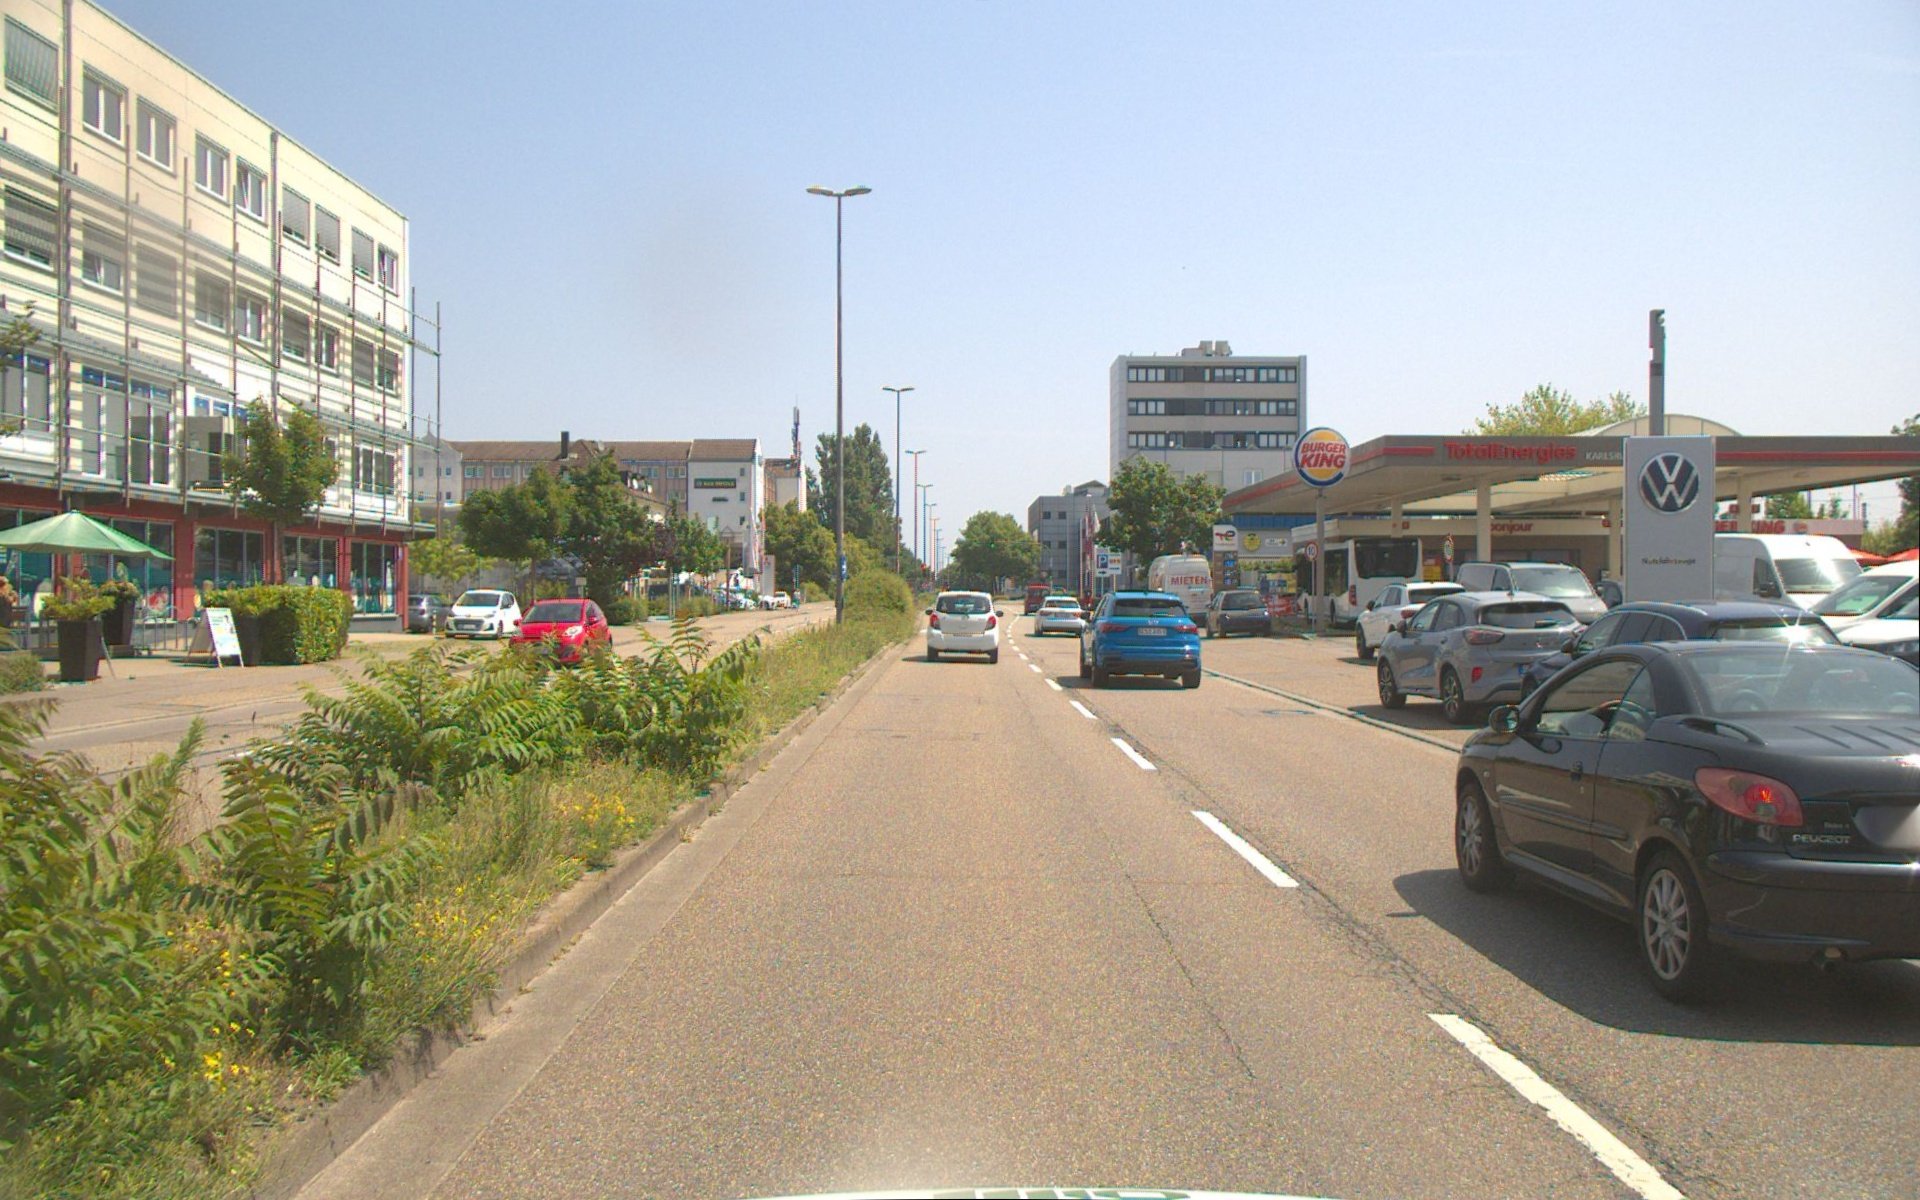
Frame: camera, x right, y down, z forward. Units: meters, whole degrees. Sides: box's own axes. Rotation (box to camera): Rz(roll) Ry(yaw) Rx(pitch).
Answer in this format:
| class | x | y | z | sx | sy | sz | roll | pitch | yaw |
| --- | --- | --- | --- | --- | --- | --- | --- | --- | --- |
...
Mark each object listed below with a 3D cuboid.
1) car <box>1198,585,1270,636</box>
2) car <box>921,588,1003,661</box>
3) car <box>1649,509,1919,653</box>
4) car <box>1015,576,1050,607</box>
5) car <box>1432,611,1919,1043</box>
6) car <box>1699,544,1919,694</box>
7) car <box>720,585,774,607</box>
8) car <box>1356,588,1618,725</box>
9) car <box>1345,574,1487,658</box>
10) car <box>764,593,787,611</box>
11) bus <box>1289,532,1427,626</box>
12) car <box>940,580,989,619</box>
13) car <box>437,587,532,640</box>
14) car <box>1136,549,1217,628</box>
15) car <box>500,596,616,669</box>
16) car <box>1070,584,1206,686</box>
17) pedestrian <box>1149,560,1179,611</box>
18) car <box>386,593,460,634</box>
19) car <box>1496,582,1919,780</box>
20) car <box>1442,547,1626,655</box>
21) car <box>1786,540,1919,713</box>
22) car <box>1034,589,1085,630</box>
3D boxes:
| class | x | y | z | sx | sy | sz | roll | pitch | yaw |
| --- | --- | --- | --- | --- | --- | --- | --- | --- | --- |
| car | 8.730 | 0.322 | 53.002 | 1.623 | 1.546 | 3.819 | -1 | 0 | -1 |
| car | -0.001 | 0.530 | 37.218 | 1.678 | 1.537 | 3.245 | 1 | 0 | -3 |
| car | 17.214 | -0.382 | 35.100 | 2.210 | 2.722 | 7.017 | -1 | 0 | 0 |
| car | 4.457 | -0.511 | 102.072 | 1.759 | 1.759 | 3.970 | 1 | -1 | -2 |
| car | 3.493 | 0.808 | 7.539 | 1.567 | 1.450 | 3.660 | 1 | 0 | -1 |
| car | 12.570 | 0.222 | 22.325 | 4.323 | 1.915 | 1.908 | -1 | 0 | -2 |
| car | -16.890 | -0.328 | 131.180 | 3.904 | 1.579 | 1.865 | 1 | -2 | 2 |
| car | 6.606 | 0.639 | 21.215 | 1.699 | 1.579 | 4.175 | 0 | 0 | -6 |
| car | 9.497 | 0.298 | 34.769 | 1.633 | 1.624 | 4.612 | -1 | 0 | -1 |
| car | -16.001 | 0.158 | 143.475 | 1.865 | 1.378 | 3.995 | 1 | -2 | -5 |
| bus | 14.512 | -0.820 | 61.375 | 2.746 | 3.132 | 12.290 | 0 | 1 | 3 |
| car | 0.161 | -0.009 | 67.835 | 1.793 | 1.475 | 3.997 | 1 | -1 | -3 |
| car | -14.864 | 0.447 | 51.871 | 1.644 | 1.521 | 4.043 | 1 | -2 | 2 |
| car | 8.579 | -0.451 | 66.336 | 2.090 | 2.889 | 7.308 | -3 | 0 | 0 |
| car | -8.567 | 0.673 | 35.480 | 1.597 | 1.449 | 3.450 | -2 | 0 | 0 |
| car | 3.044 | 0.566 | 29.060 | 1.874 | 1.625 | 4.395 | 1 | 0 | 0 |
| pedestrian | 7.717 | -0.558 | 62.496 | 0.799 | 1.778 | 0.703 | 9 | -3 | 0 |
| car | -21.993 | 0.582 | 67.870 | 1.733 | 1.574 | 3.999 | 0 | -2 | 0 |
| car | 6.861 | 0.671 | 15.843 | 1.679 | 1.575 | 4.788 | -1 | 0 | -3 |
| car | 11.893 | 0.029 | 34.673 | 1.953 | 2.058 | 5.159 | 1 | 0 | -1 |
| car | 12.404 | 0.253 | 19.462 | 4.464 | 1.921 | 1.857 | -1 | 0 | -2 |
| car | 3.536 | 0.339 | 59.420 | 1.633 | 1.424 | 3.793 | 0 | 0 | 0 |
